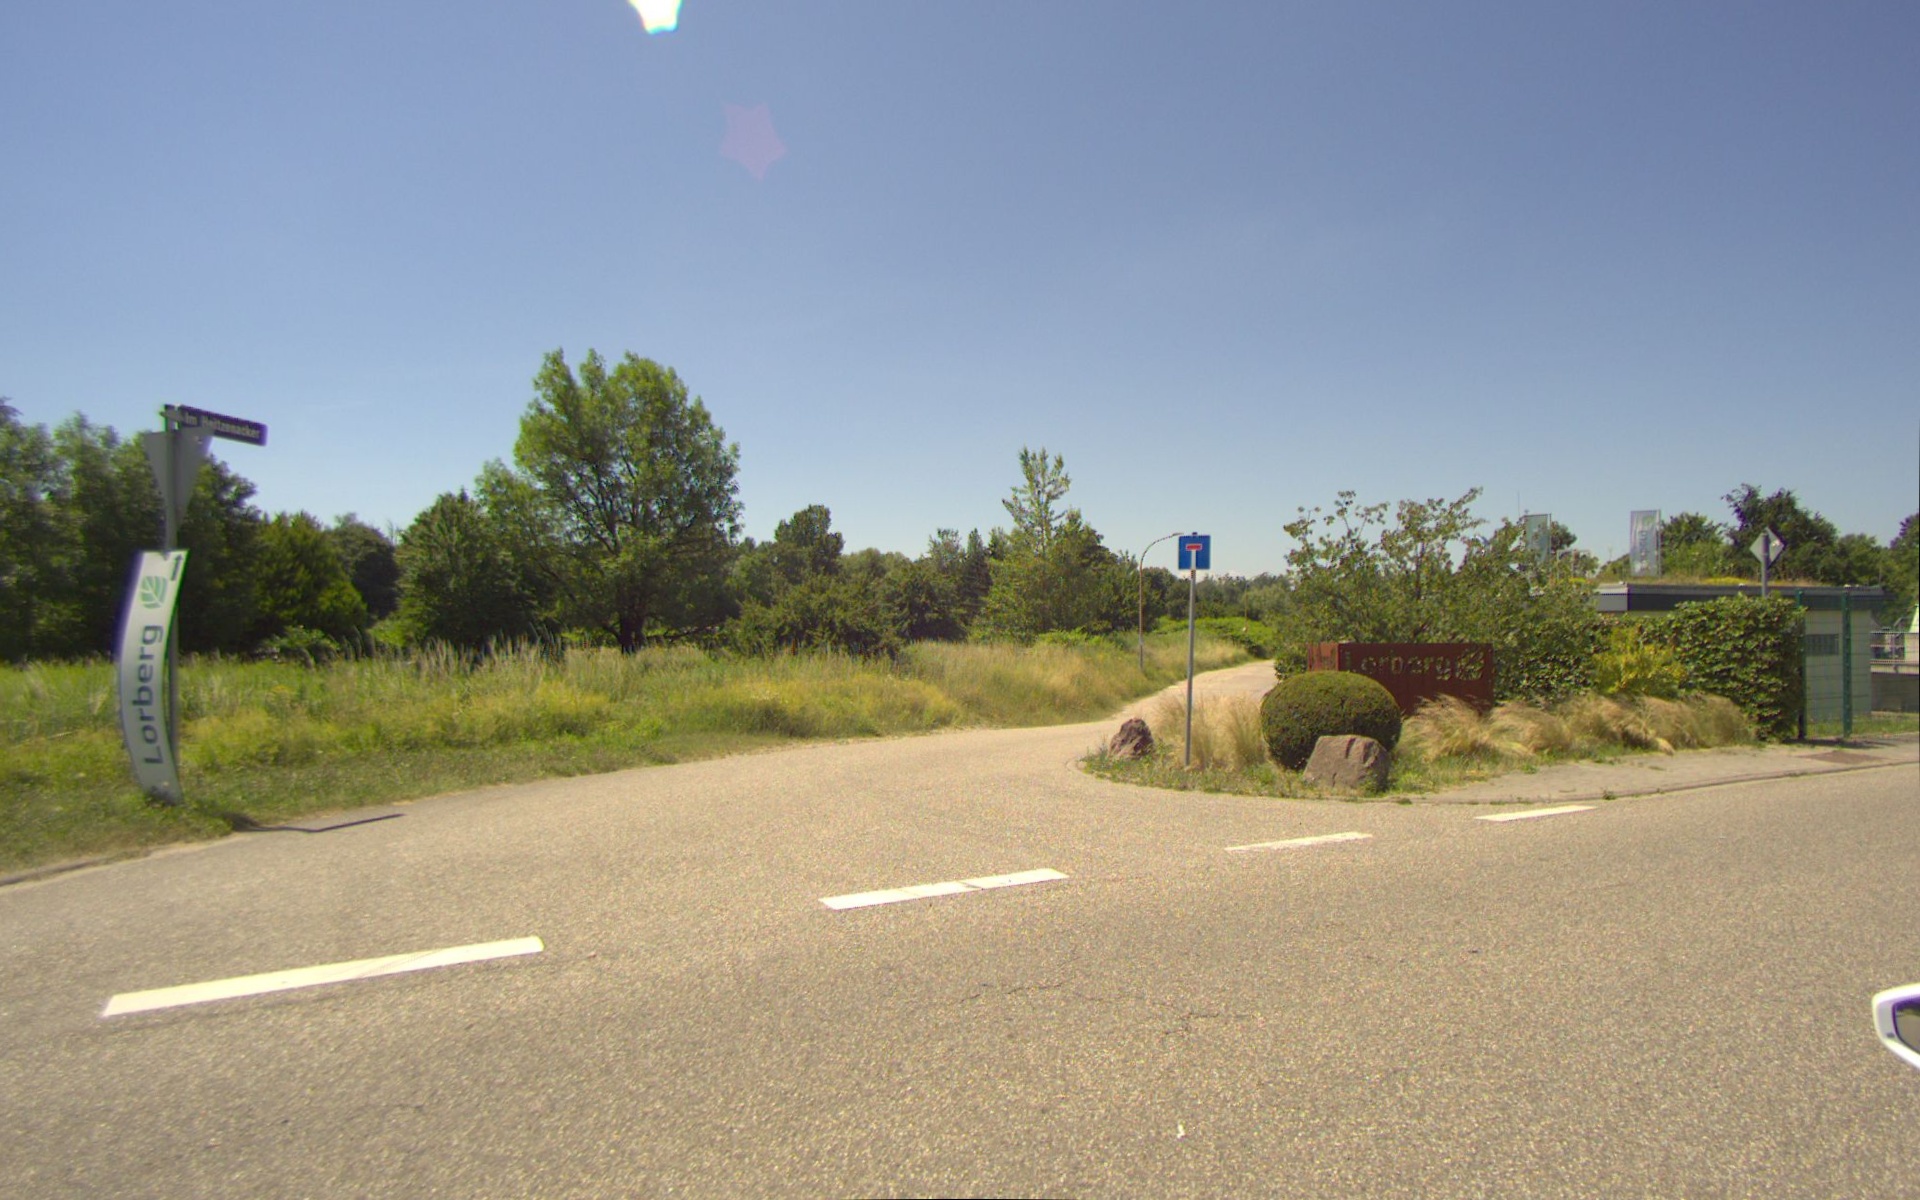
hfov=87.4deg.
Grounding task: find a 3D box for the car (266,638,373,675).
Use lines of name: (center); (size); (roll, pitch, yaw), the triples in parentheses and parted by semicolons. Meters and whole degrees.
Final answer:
car: (-30.346, 2.667, 47.732); (1.960, 1.617, 4.002); (-2, -2, 17)
